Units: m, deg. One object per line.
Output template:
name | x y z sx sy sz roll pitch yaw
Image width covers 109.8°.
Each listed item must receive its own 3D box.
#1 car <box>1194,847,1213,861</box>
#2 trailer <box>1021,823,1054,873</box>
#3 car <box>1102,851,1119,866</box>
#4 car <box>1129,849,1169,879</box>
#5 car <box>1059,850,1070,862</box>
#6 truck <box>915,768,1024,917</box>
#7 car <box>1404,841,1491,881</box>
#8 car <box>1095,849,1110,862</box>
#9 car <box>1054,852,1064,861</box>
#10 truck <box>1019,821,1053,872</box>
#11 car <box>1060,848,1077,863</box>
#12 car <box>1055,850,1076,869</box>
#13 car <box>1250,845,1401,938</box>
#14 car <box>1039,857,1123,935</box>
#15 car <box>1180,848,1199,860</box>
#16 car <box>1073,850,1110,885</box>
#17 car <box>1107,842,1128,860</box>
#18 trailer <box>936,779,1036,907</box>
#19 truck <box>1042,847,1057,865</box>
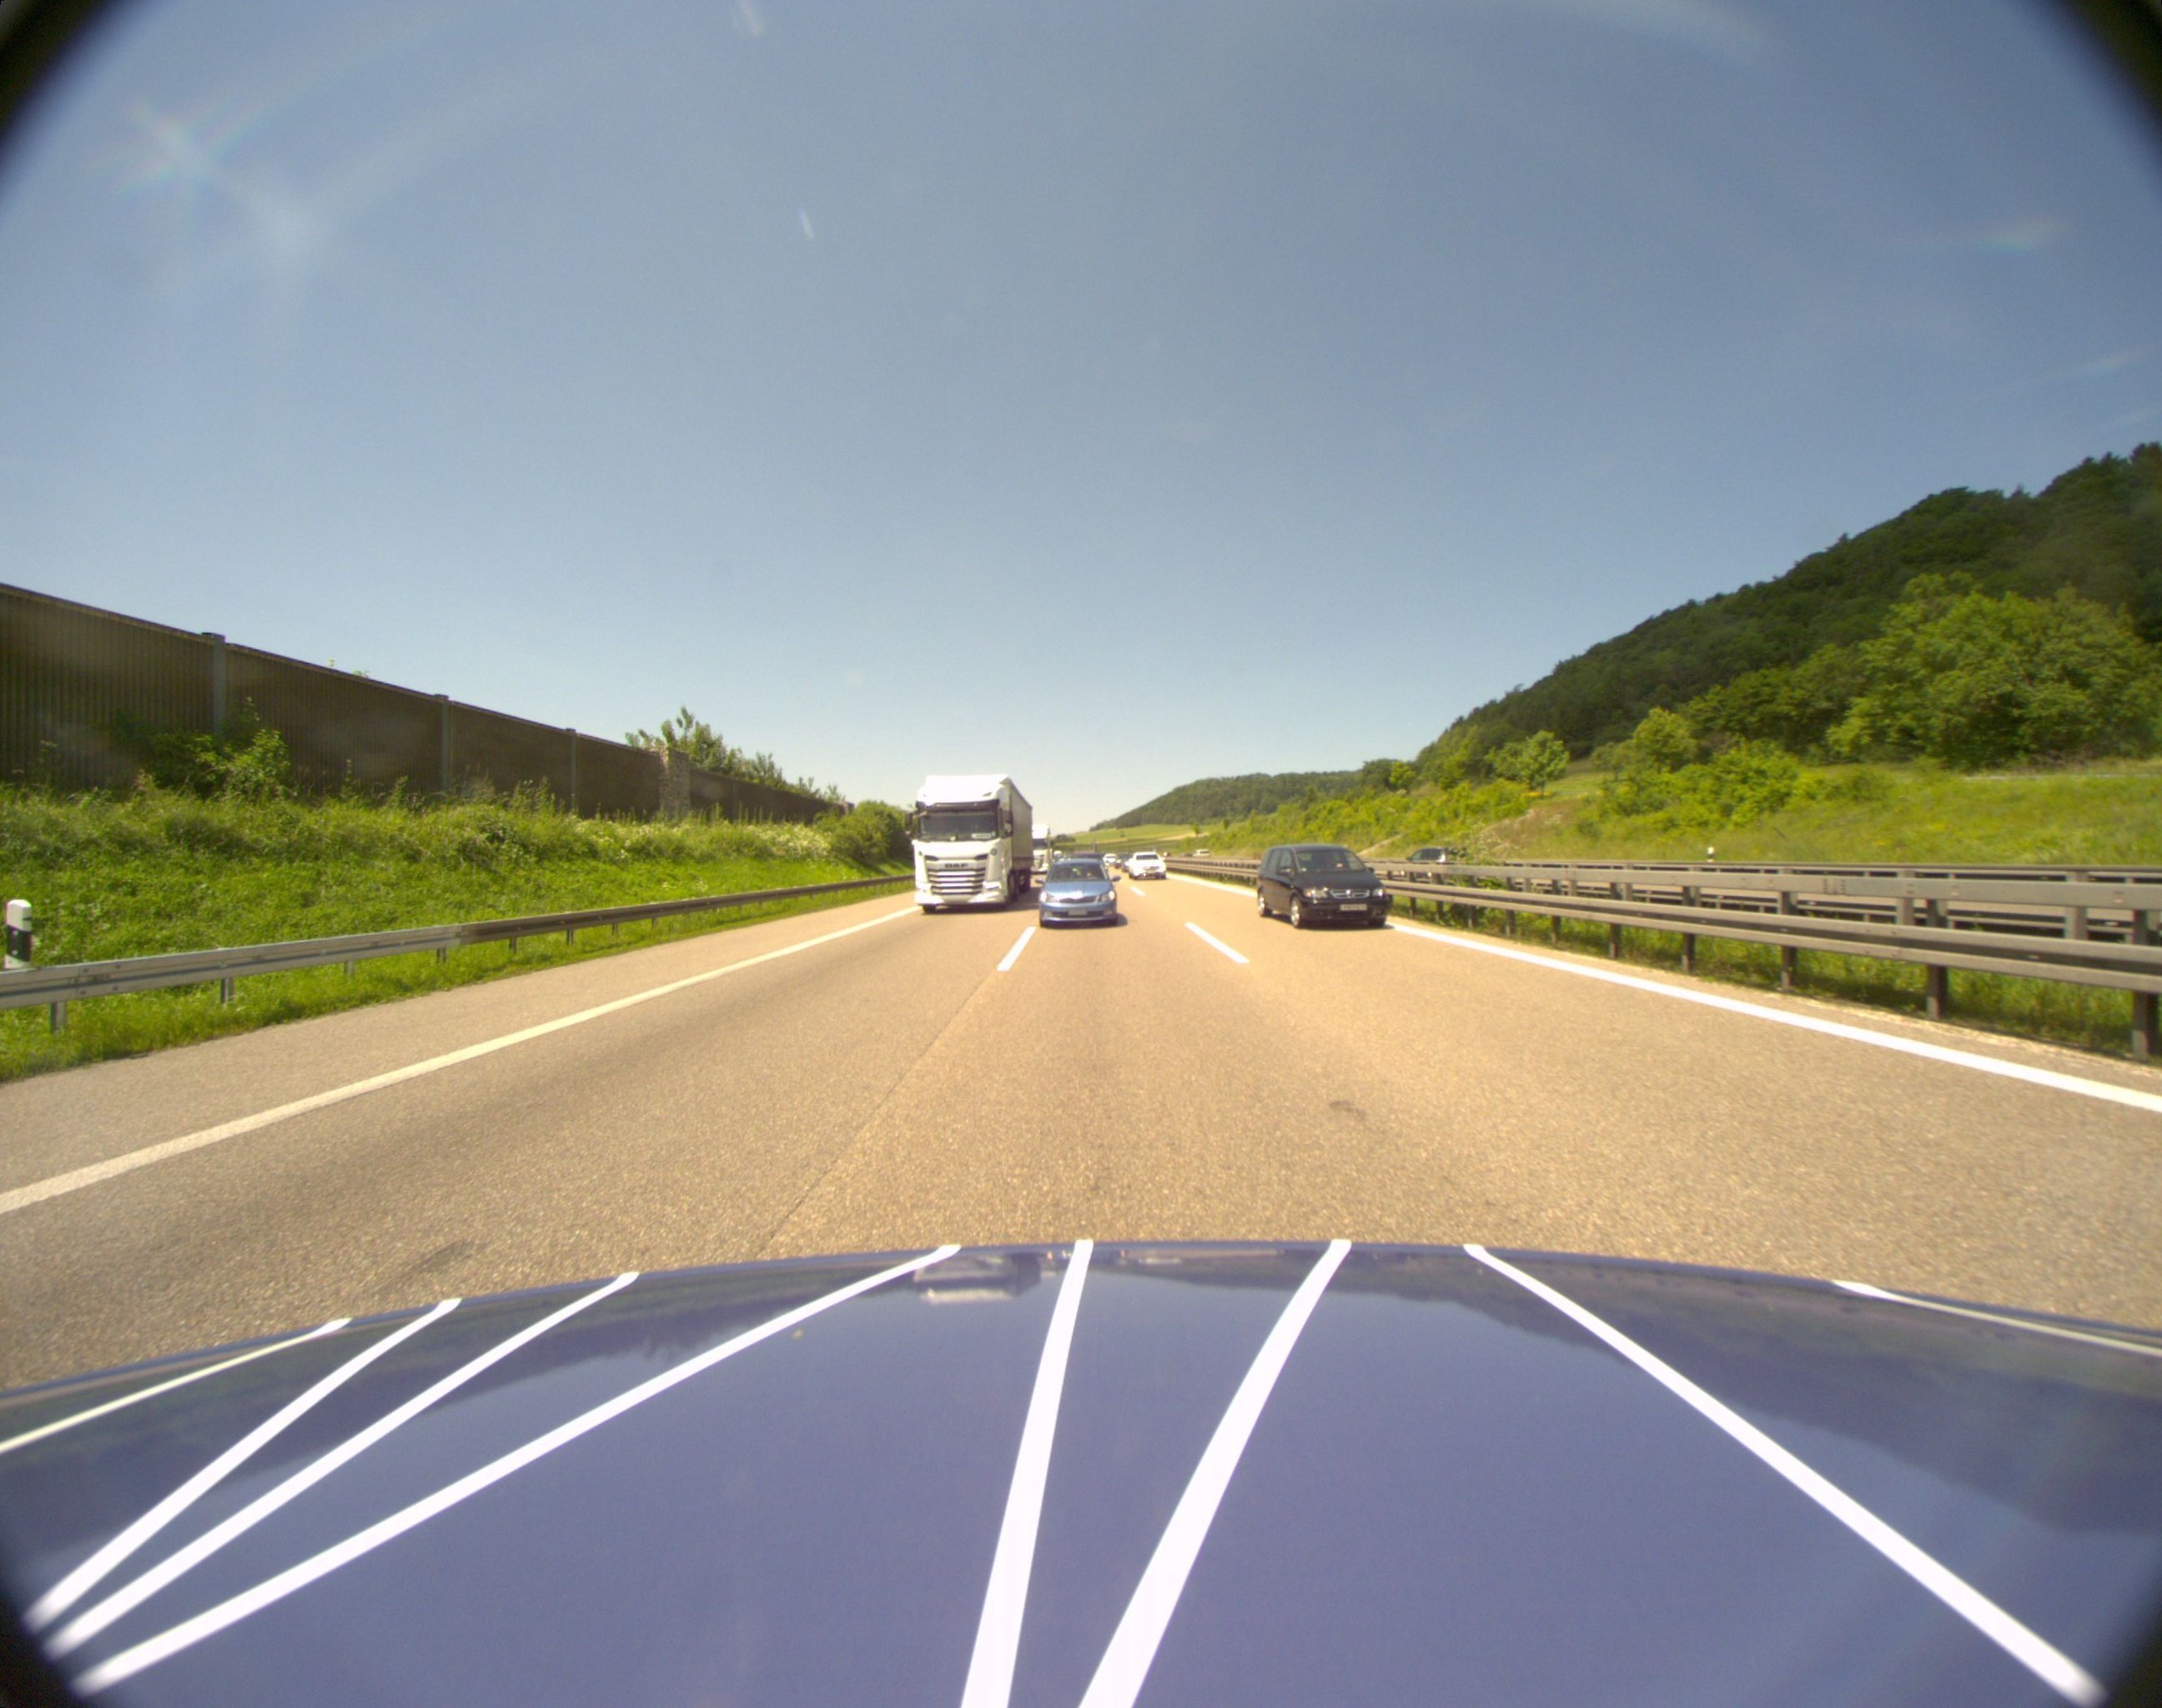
car | 17.989 0.012 111.975 2.065 1.930 4.660 -1 0 0
trailer | -3.955 -0.594 70.491 2.544 4.085 13.622 -2 1 -3
car | 3.615 0.524 94.321 1.998 1.702 4.000 -2 1 2
car | 3.942 0.540 44.522 1.998 1.612 4.000 -2 1 1
car | -3.097 0.366 144.830 1.999 2.002 3.999 -2 1 -1
truck | -3.246 -0.336 23.662 2.484 3.954 6.379 -1 1 -1
car | 16.125 0.285 33.658 1.854 1.600 4.078 -1 0 0
car | 3.010 0.220 104.613 1.998 1.702 4.000 -2 1 2
car | -5.022 0.540 174.329 1.999 2.002 3.999 -2 1 -1
truck | -3.747 -0.646 64.126 2.532 4.065 6.077 -2 1 -3
car | -1.523 0.180 94.974 1.999 1.702 3.999 -2 1 -1
car | -1.512 0.554 75.852 1.999 1.702 3.999 -2 1 -1
car | 4.874 0.655 15.834 1.805 1.625 4.446 -1 0 1
car | -0.034 0.863 17.729 1.660 1.481 4.652 -1 0 -1
car | 14.817 -0.027 103.917 1.998 1.510 4.520 -1 0 0
car | 0.542 0.635 38.911 1.736 1.674 4.197 -1 0 1
car | 3.668 -0.326 77.247 1.998 1.702 4.000 -2 1 2
trailer | -3.370 -0.383 30.622 2.484 3.954 13.652 -1 0 -1
truck | -4.302 0.254 104.788 1.836 2.267 6.593 -2 1 -1
